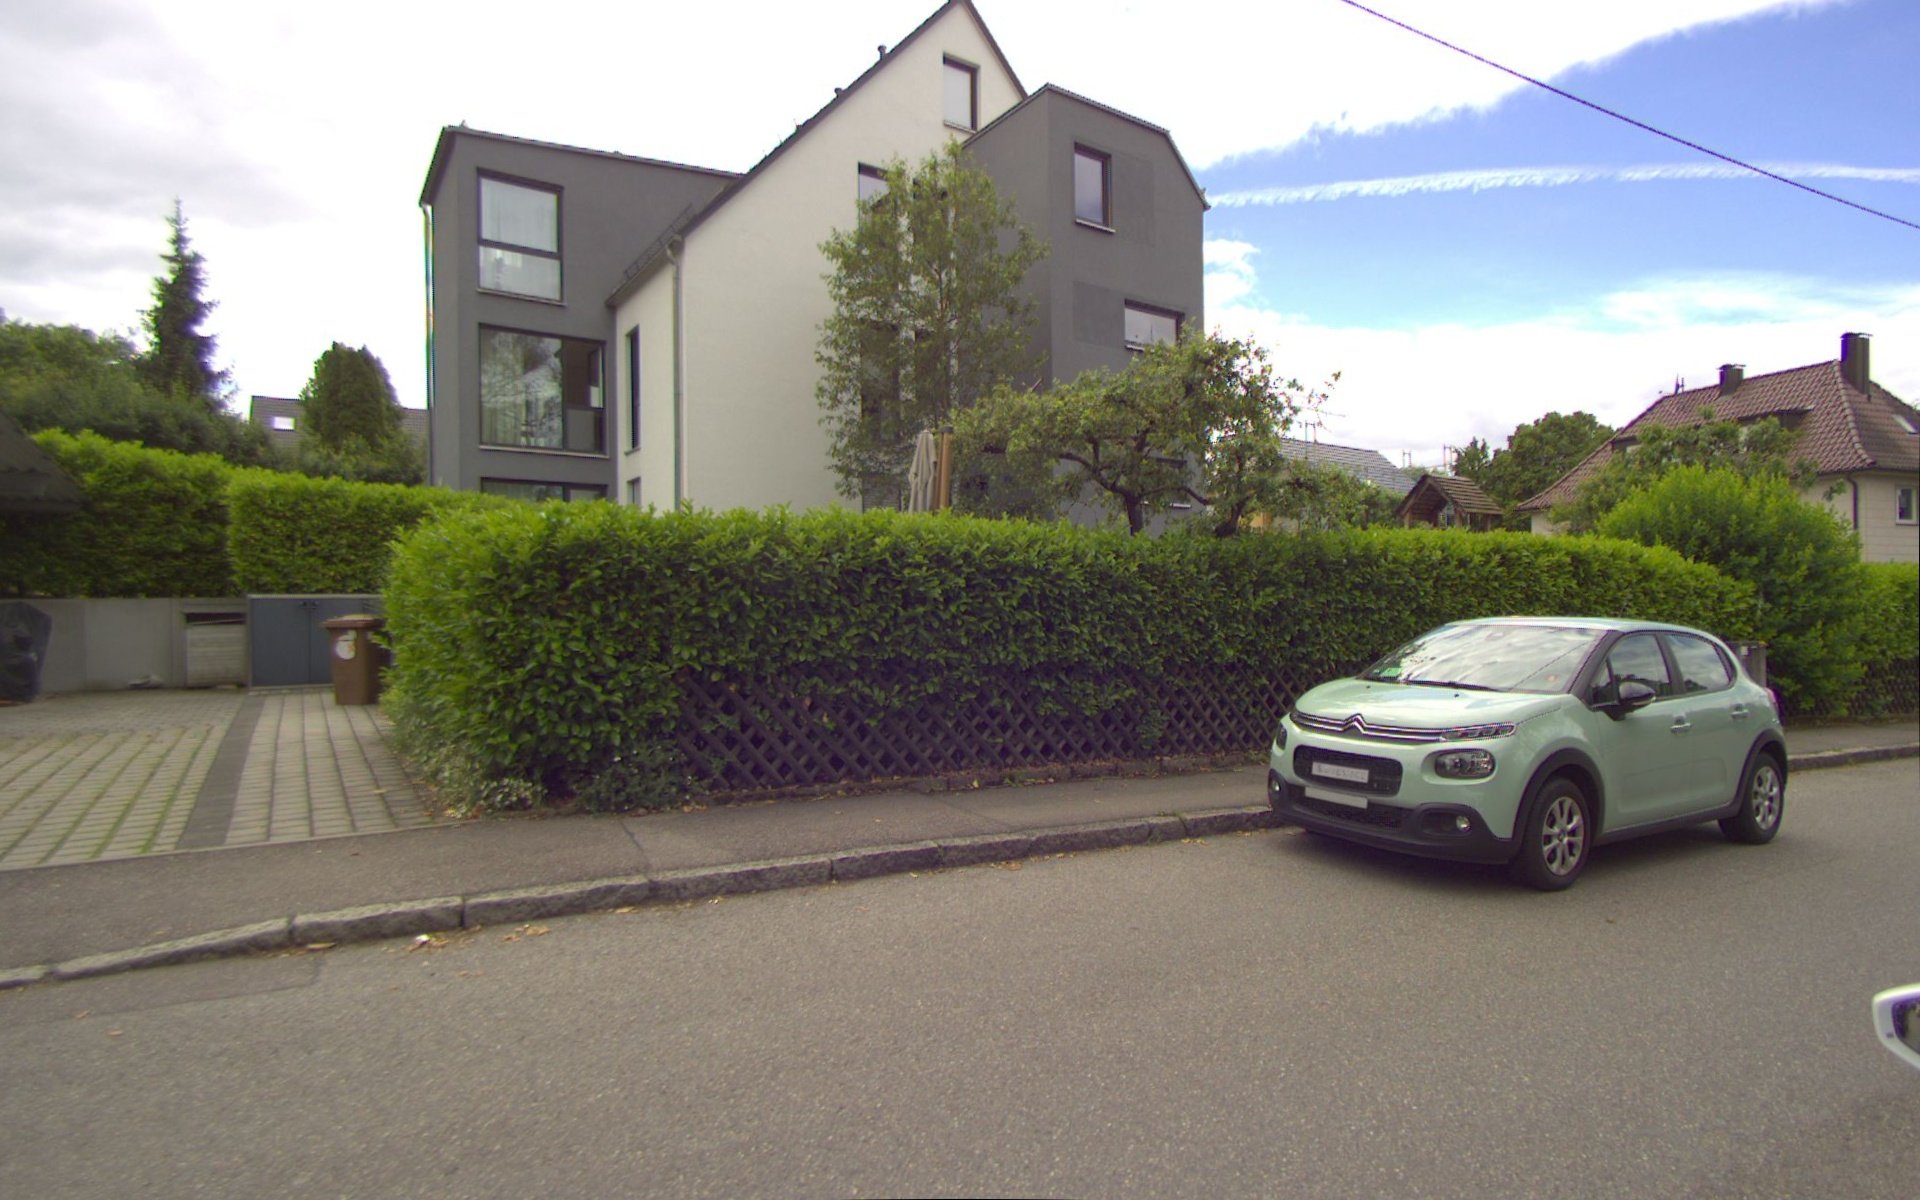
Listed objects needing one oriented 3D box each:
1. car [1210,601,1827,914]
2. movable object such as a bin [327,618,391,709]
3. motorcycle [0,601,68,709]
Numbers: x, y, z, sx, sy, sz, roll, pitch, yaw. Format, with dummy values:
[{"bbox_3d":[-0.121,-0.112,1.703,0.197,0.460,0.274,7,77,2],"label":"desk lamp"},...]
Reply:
[{"bbox_3d":[3.773,0.817,6.671,3.966,1.520,1.775,2,0,-29],"label":"car"},{"bbox_3d":[-7.232,0.758,12.108,0.517,1.081,0.407,0,-2,-5],"label":"movable object such as a bin"},{"bbox_3d":[-12.112,0.684,13.005,0.525,1.318,1.473,1,0,-30],"label":"motorcycle"}]
